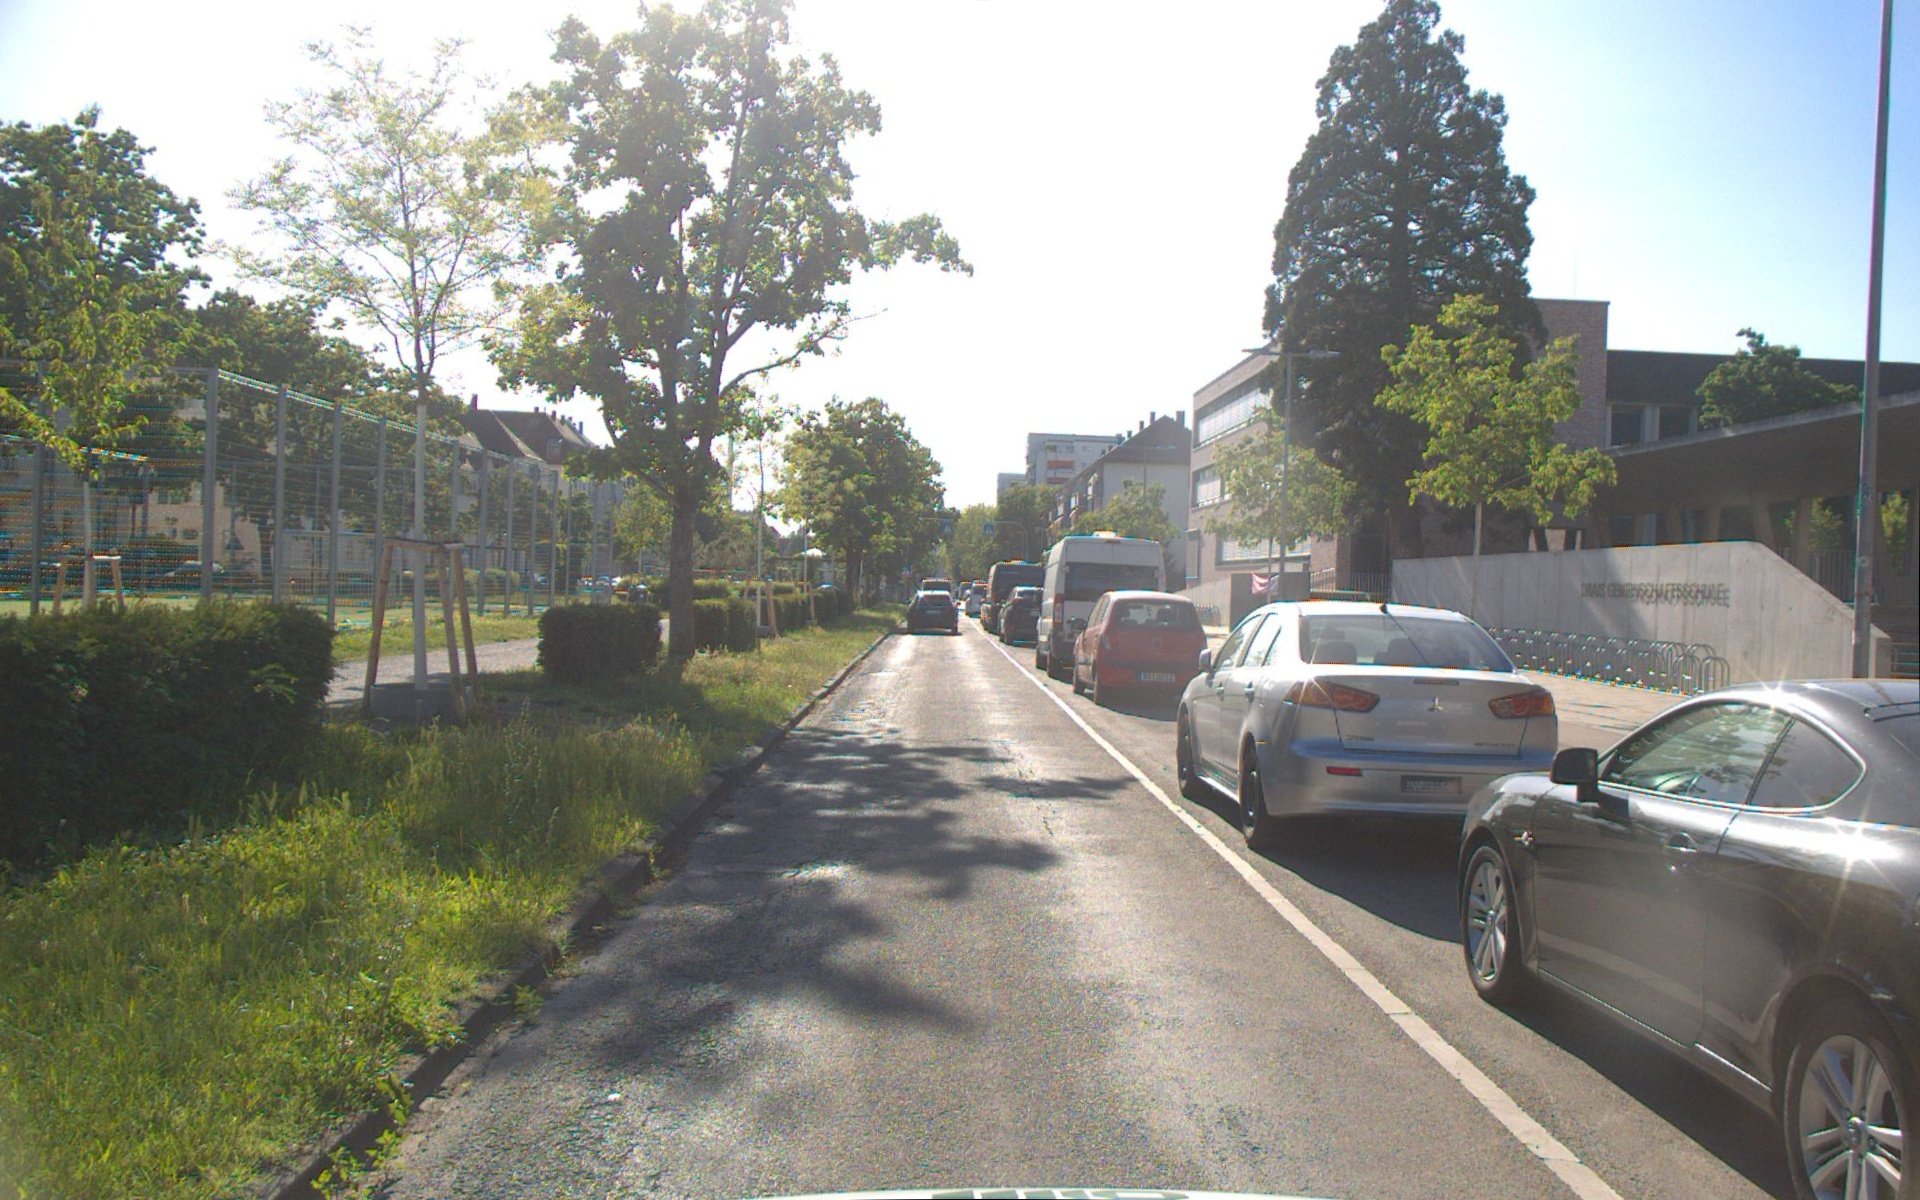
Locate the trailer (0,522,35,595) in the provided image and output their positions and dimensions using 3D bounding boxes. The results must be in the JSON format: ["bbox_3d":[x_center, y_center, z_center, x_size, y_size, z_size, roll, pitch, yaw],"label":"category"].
[{"bbox_3d":[-39.864,-1.712,66.374,2.296,2.920,5.801,2,0,-2],"label":"trailer"}]

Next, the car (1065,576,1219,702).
[{"bbox_3d":[2.520,0.489,23.659,1.587,1.616,3.590,2,1,-3],"label":"car"}]

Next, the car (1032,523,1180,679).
[{"bbox_3d":[2.658,0.003,31.525,2.195,2.619,5.431,2,0,-1],"label":"car"}]

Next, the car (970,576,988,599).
[{"bbox_3d":[2.211,-1.435,193.292,1.953,2.472,4.500,4,0,-1],"label":"car"}]

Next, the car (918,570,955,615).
[{"bbox_3d":[-1.174,-0.396,83.720,1.758,2.159,4.000,2,0,-1],"label":"car"}]

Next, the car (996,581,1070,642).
[{"bbox_3d":[2.109,0.321,48.874,1.809,1.669,4.502,2,0,-2],"label":"car"}]

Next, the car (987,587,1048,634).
[{"bbox_3d":[1.893,0.325,55.314,1.758,1.480,3.948,2,0,-2],"label":"car"}]

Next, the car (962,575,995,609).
[{"bbox_3d":[1.077,-0.469,94.735,1.757,1.887,4.414,2,1,1],"label":"car"}]

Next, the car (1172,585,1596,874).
[{"bbox_3d":[2.580,0.691,11.093,1.667,1.504,4.173,2,0,-1],"label":"car"}]

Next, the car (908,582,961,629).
[{"bbox_3d":[-0.881,0.166,58.027,1.758,1.536,4.000,2,0,-1],"label":"car"}]

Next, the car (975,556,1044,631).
[{"bbox_3d":[1.771,-0.243,61.275,2.073,2.559,6.529,2,0,-2],"label":"car"}]

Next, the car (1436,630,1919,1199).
[{"bbox_3d":[2.918,0.855,4.960,1.667,1.348,4.128,2,0,-1],"label":"car"}]
